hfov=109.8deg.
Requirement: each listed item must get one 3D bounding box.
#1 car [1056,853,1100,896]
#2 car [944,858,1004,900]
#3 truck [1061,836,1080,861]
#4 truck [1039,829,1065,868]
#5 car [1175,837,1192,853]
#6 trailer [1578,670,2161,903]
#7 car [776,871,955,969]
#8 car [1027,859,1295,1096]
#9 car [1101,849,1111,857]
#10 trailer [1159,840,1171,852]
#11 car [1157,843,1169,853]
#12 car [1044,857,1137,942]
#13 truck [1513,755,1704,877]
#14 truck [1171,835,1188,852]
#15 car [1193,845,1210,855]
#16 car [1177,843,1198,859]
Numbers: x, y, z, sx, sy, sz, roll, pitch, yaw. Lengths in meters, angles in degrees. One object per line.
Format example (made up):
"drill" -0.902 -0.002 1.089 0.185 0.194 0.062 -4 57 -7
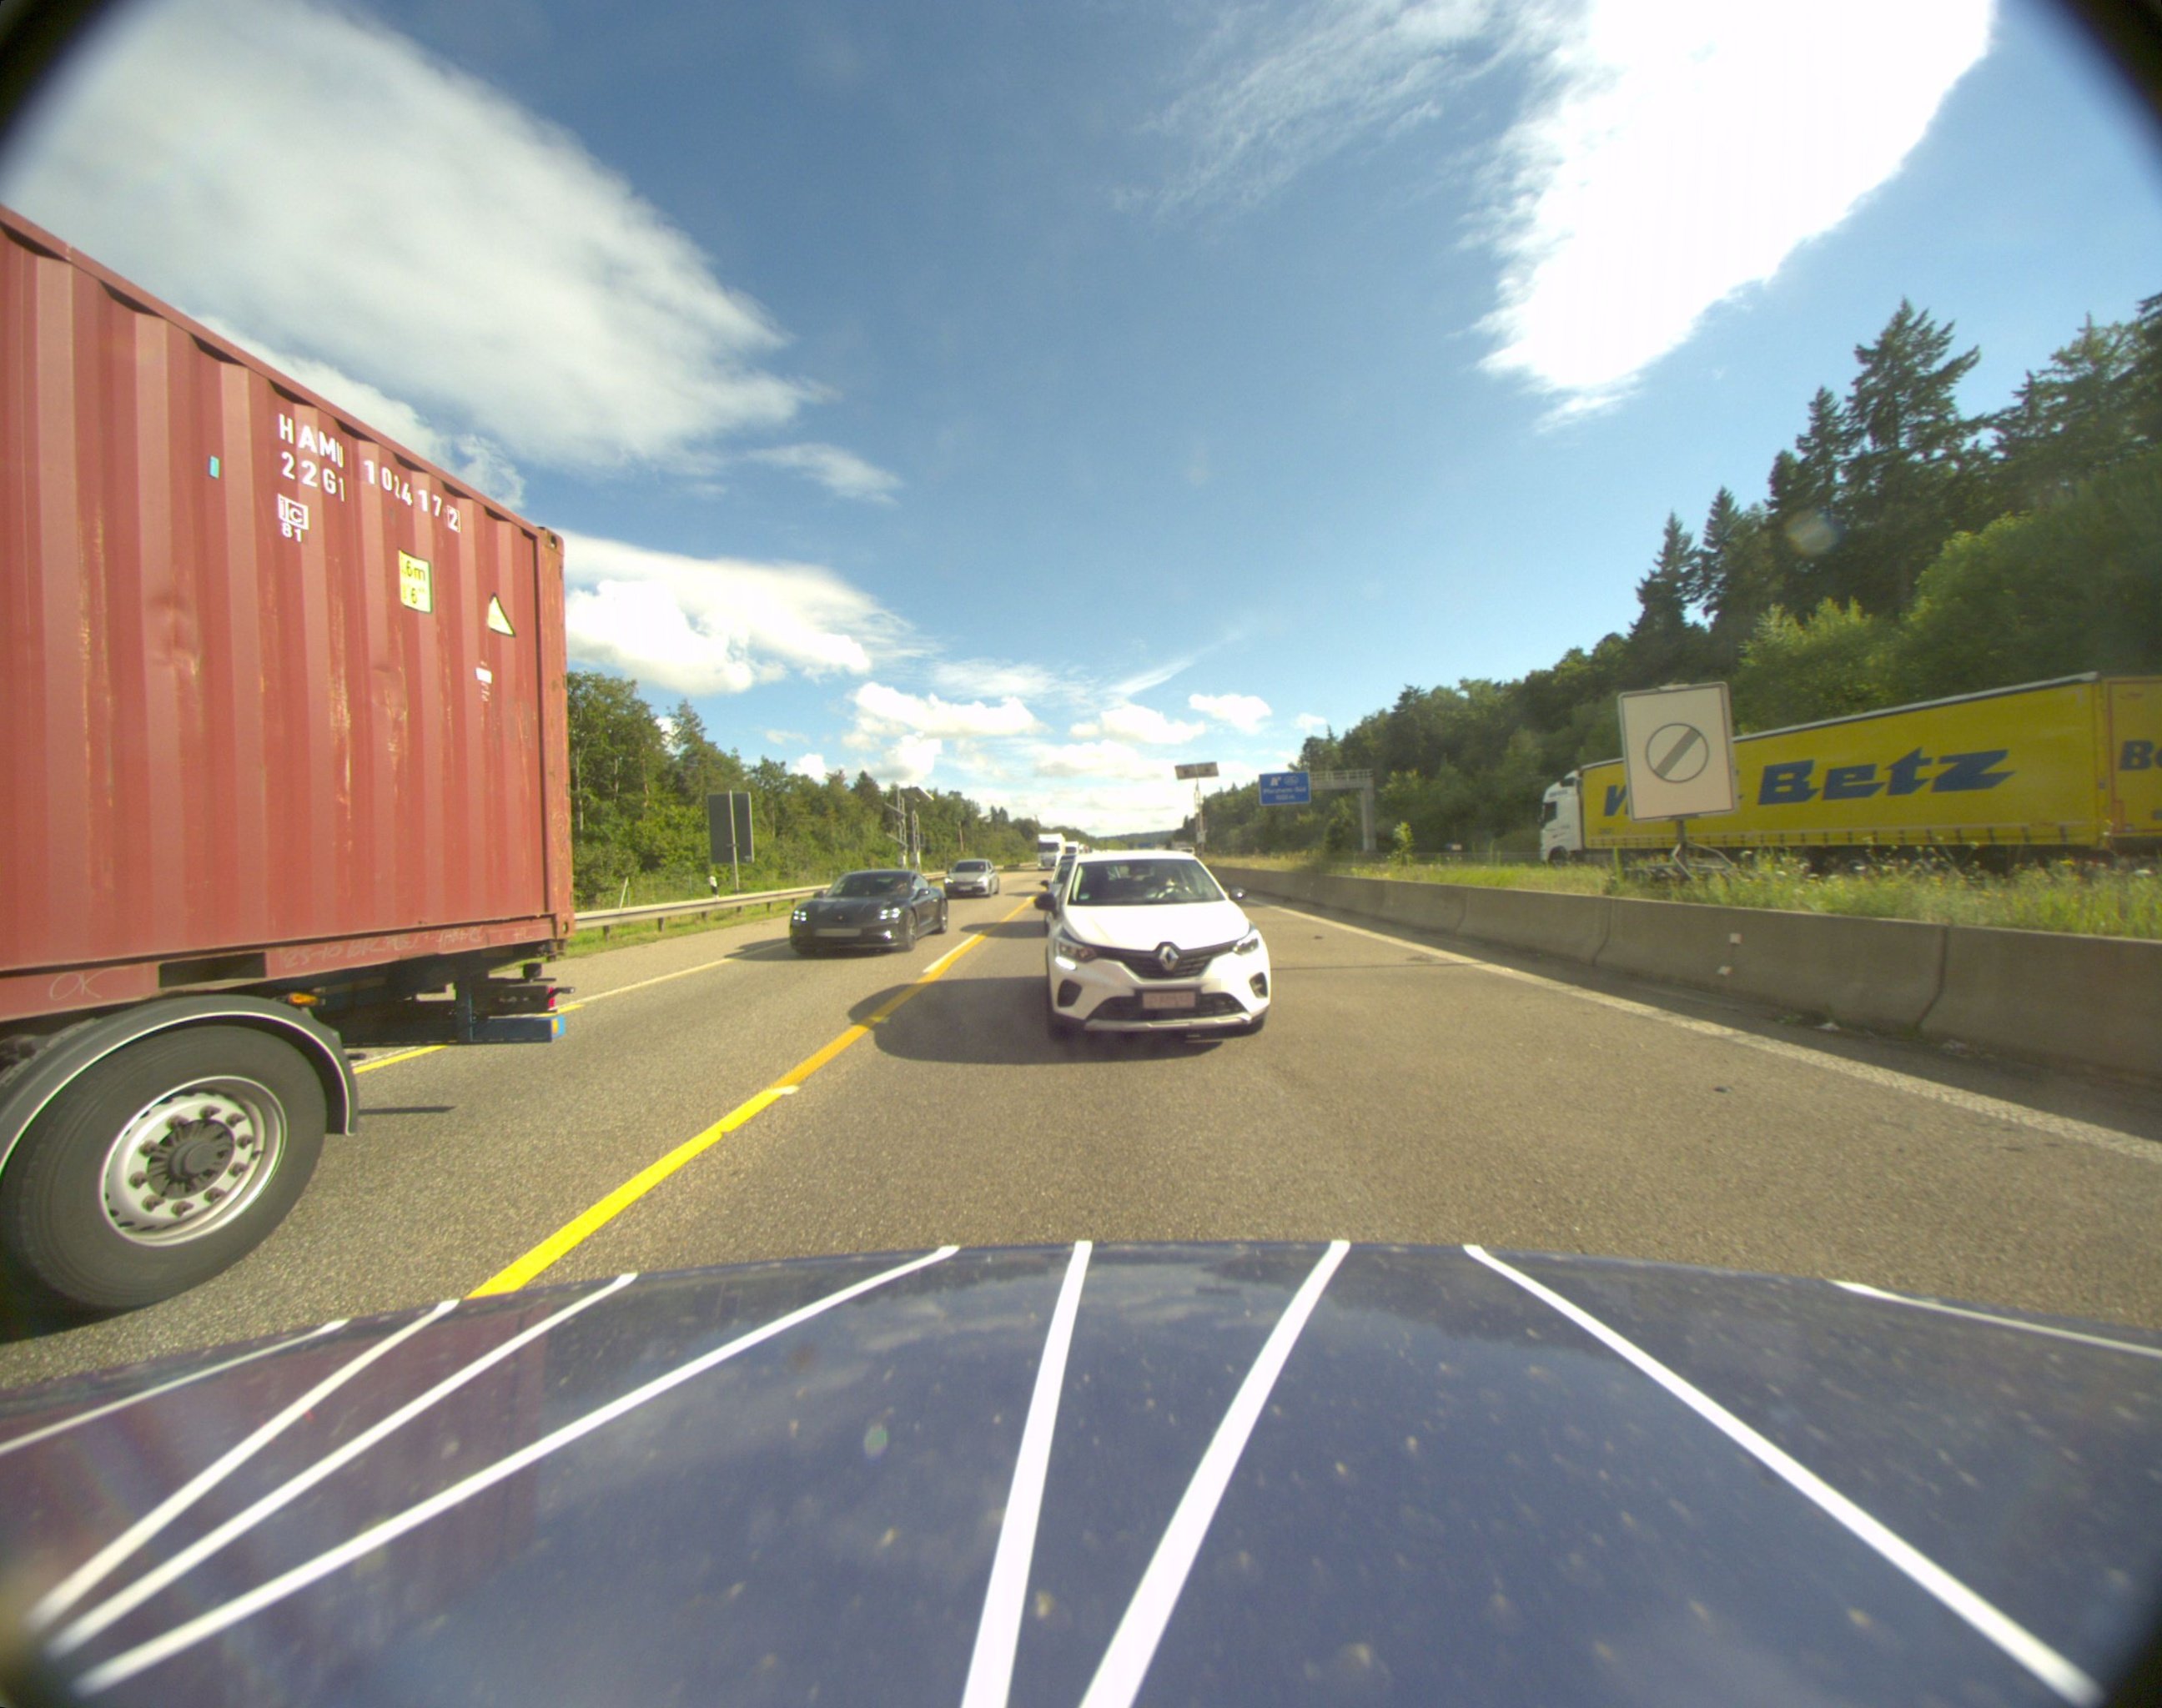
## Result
"car" -0.093 0.789 31.344 1.633 1.548 3.754 -3 1 1
"car" -4.301 0.958 31.035 1.762 1.471 3.967 -2 1 1
"truck" -1.738 -0.958 135.094 2.640 4.092 8.196 -2 0 3
"truck" -3.213 -0.642 85.544 2.641 4.092 8.193 -2 0 -2
"car" 22.160 -1.958 164.727 2.493 3.351 7.451 -2 1 0
"trailer" 18.894 -1.259 19.791 2.834 3.900 13.938 -2 1 1
"car" -3.760 1.090 14.181 1.933 1.342 4.477 -2 0 1
"car" 0.537 0.883 7.300 1.840 1.528 3.882 -2 1 -1
"car" 4.555 -0.266 140.204 1.783 1.379 4.310 -2 1 1
"trailer" 27.631 -2.730 249.912 2.797 3.901 8.487 -2 1 1
"car" 20.396 -1.456 189.023 2.165 2.437 6.330 -3 1 1
"car" 0.216 0.862 16.077 1.692 1.471 3.754 -2 1 1
"truck" 18.963 -1.287 27.825 2.834 3.886 5.948 -2 1 1
"truck" 24.069 -2.472 186.475 2.807 3.969 10.185 -2 0 1
"car" 17.822 -0.564 112.643 1.963 1.355 4.287 -2 1 1
"car" 13.546 -0.424 97.084 1.998 2.002 4.831 -2 1 1
